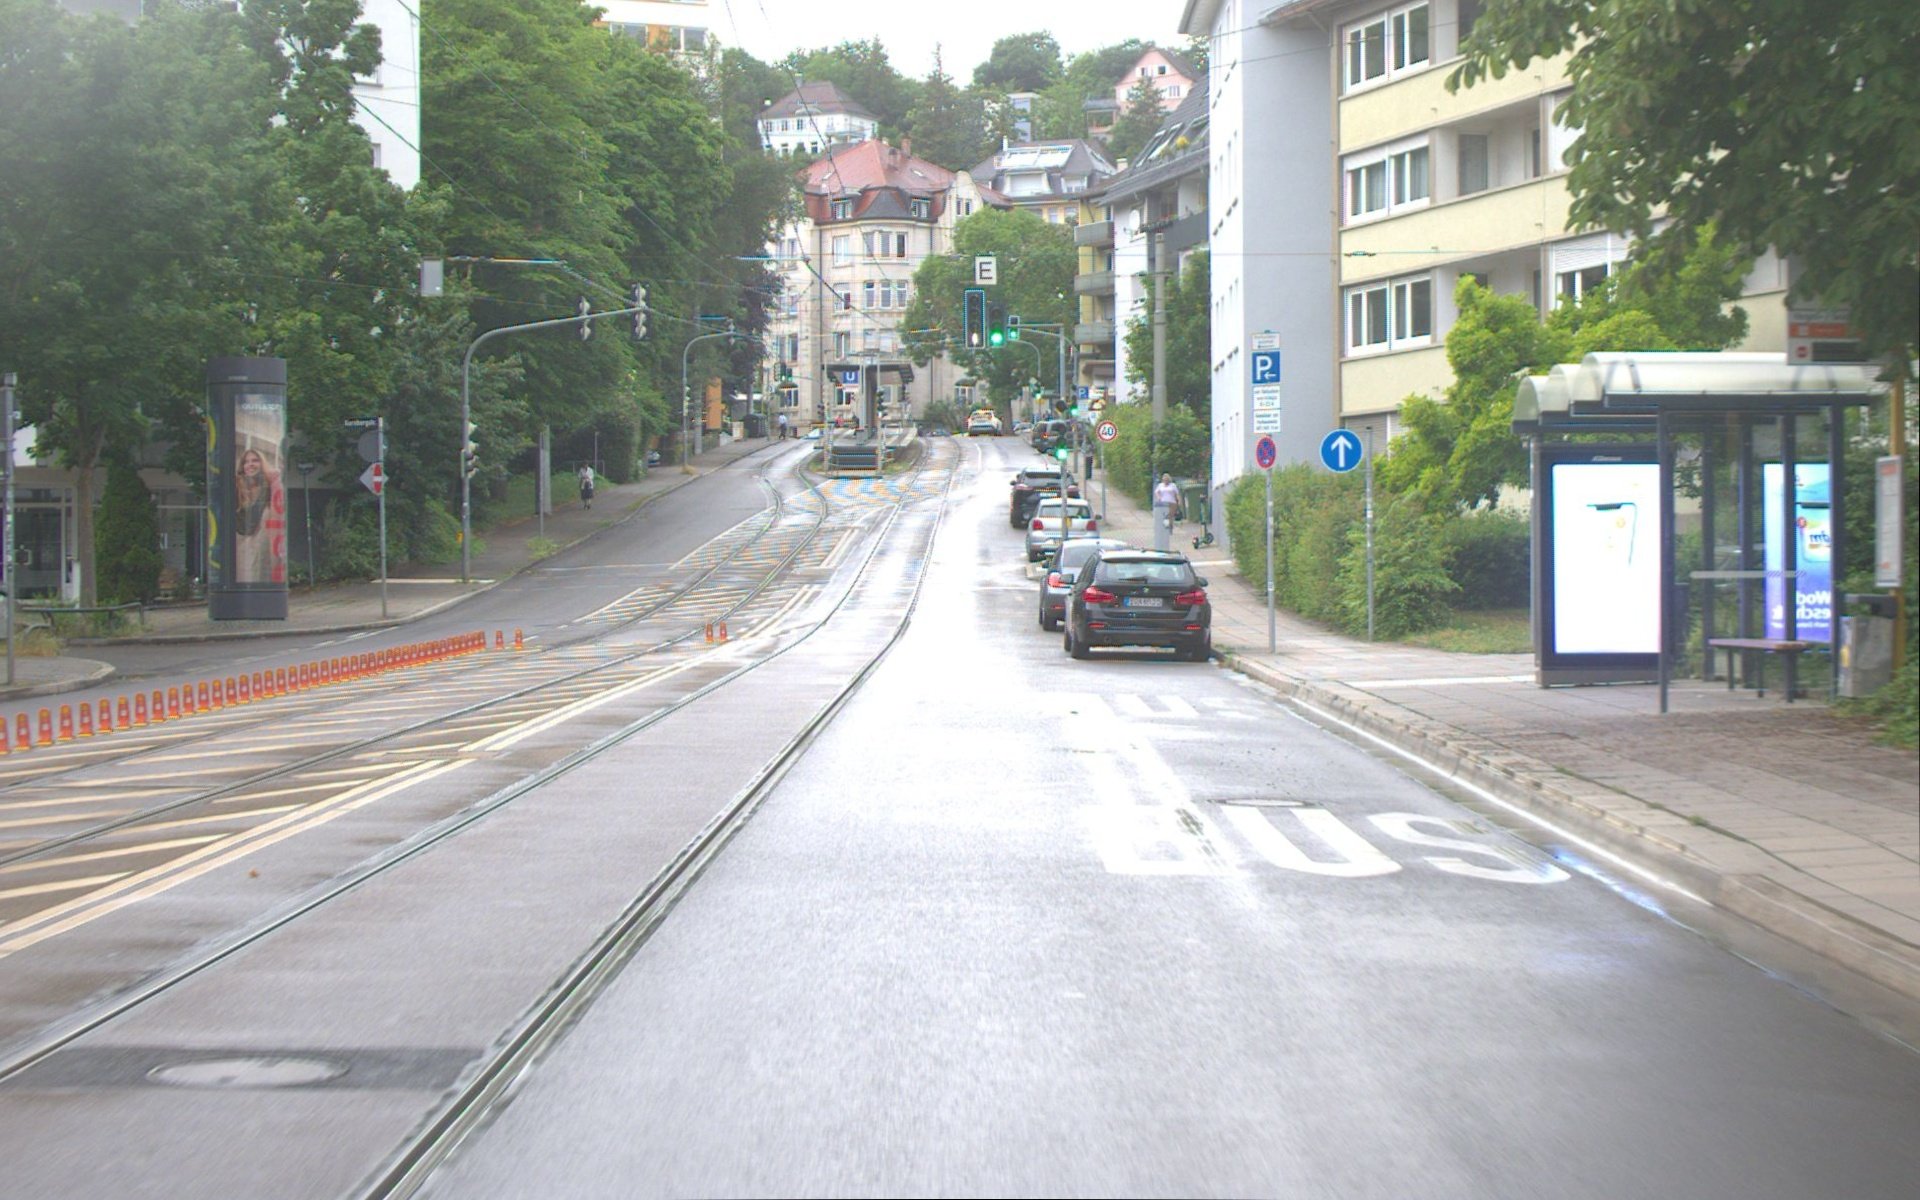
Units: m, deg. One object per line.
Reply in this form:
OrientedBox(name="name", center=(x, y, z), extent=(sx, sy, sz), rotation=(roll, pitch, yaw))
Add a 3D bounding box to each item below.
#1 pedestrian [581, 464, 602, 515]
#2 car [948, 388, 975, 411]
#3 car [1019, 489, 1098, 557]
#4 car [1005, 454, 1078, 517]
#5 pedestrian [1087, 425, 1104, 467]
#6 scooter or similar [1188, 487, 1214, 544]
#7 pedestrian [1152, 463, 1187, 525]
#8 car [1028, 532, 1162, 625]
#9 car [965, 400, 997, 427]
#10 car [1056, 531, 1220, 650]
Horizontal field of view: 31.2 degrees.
OrientedBox(name="pedestrian", center=(-11.889, -3.563, 110.842), extent=(0.583, 1.594, 0.869), rotation=(2, 3, -3))
OrientedBox(name="car", center=(0.093, -14.699, 251.991), extent=(1.906, 1.636, 4.690), rotation=(1, 4, -1))
OrientedBox(name="car", center=(2.338, -1.856, 82.345), extent=(1.704, 1.428, 4.102), rotation=(1, 4, -1))
OrientedBox(name="car", center=(2.321, -3.309, 98.519), extent=(1.906, 1.636, 4.690), rotation=(1, 4, -1))
OrientedBox(name="pedestrian", center=(5.208, -5.919, 132.200), extent=(0.644, 1.623, 0.699), rotation=(0, 2, -1))
OrientedBox(name="scooter or similar", center=(5.808, -2.038, 82.889), extent=(0.575, 1.245, 1.610), rotation=(0, 6, 6))
OrientedBox(name="pedestrian", center=(5.545, -2.811, 90.951), extent=(0.882, 1.577, 0.801), rotation=(-1, 5, 3))
OrientedBox(name="car", center=(2.206, -0.386, 57.221), extent=(1.939, 1.459, 4.207), rotation=(0, 1, -2))
OrientedBox(name="car", center=(1.324, -11.907, 219.482), extent=(1.906, 1.636, 4.690), rotation=(1, 4, -1))
OrientedBox(name="car", center=(2.315, -0.166, 45.879), extent=(1.858, 1.482, 4.645), rotation=(0, 1, -1))
